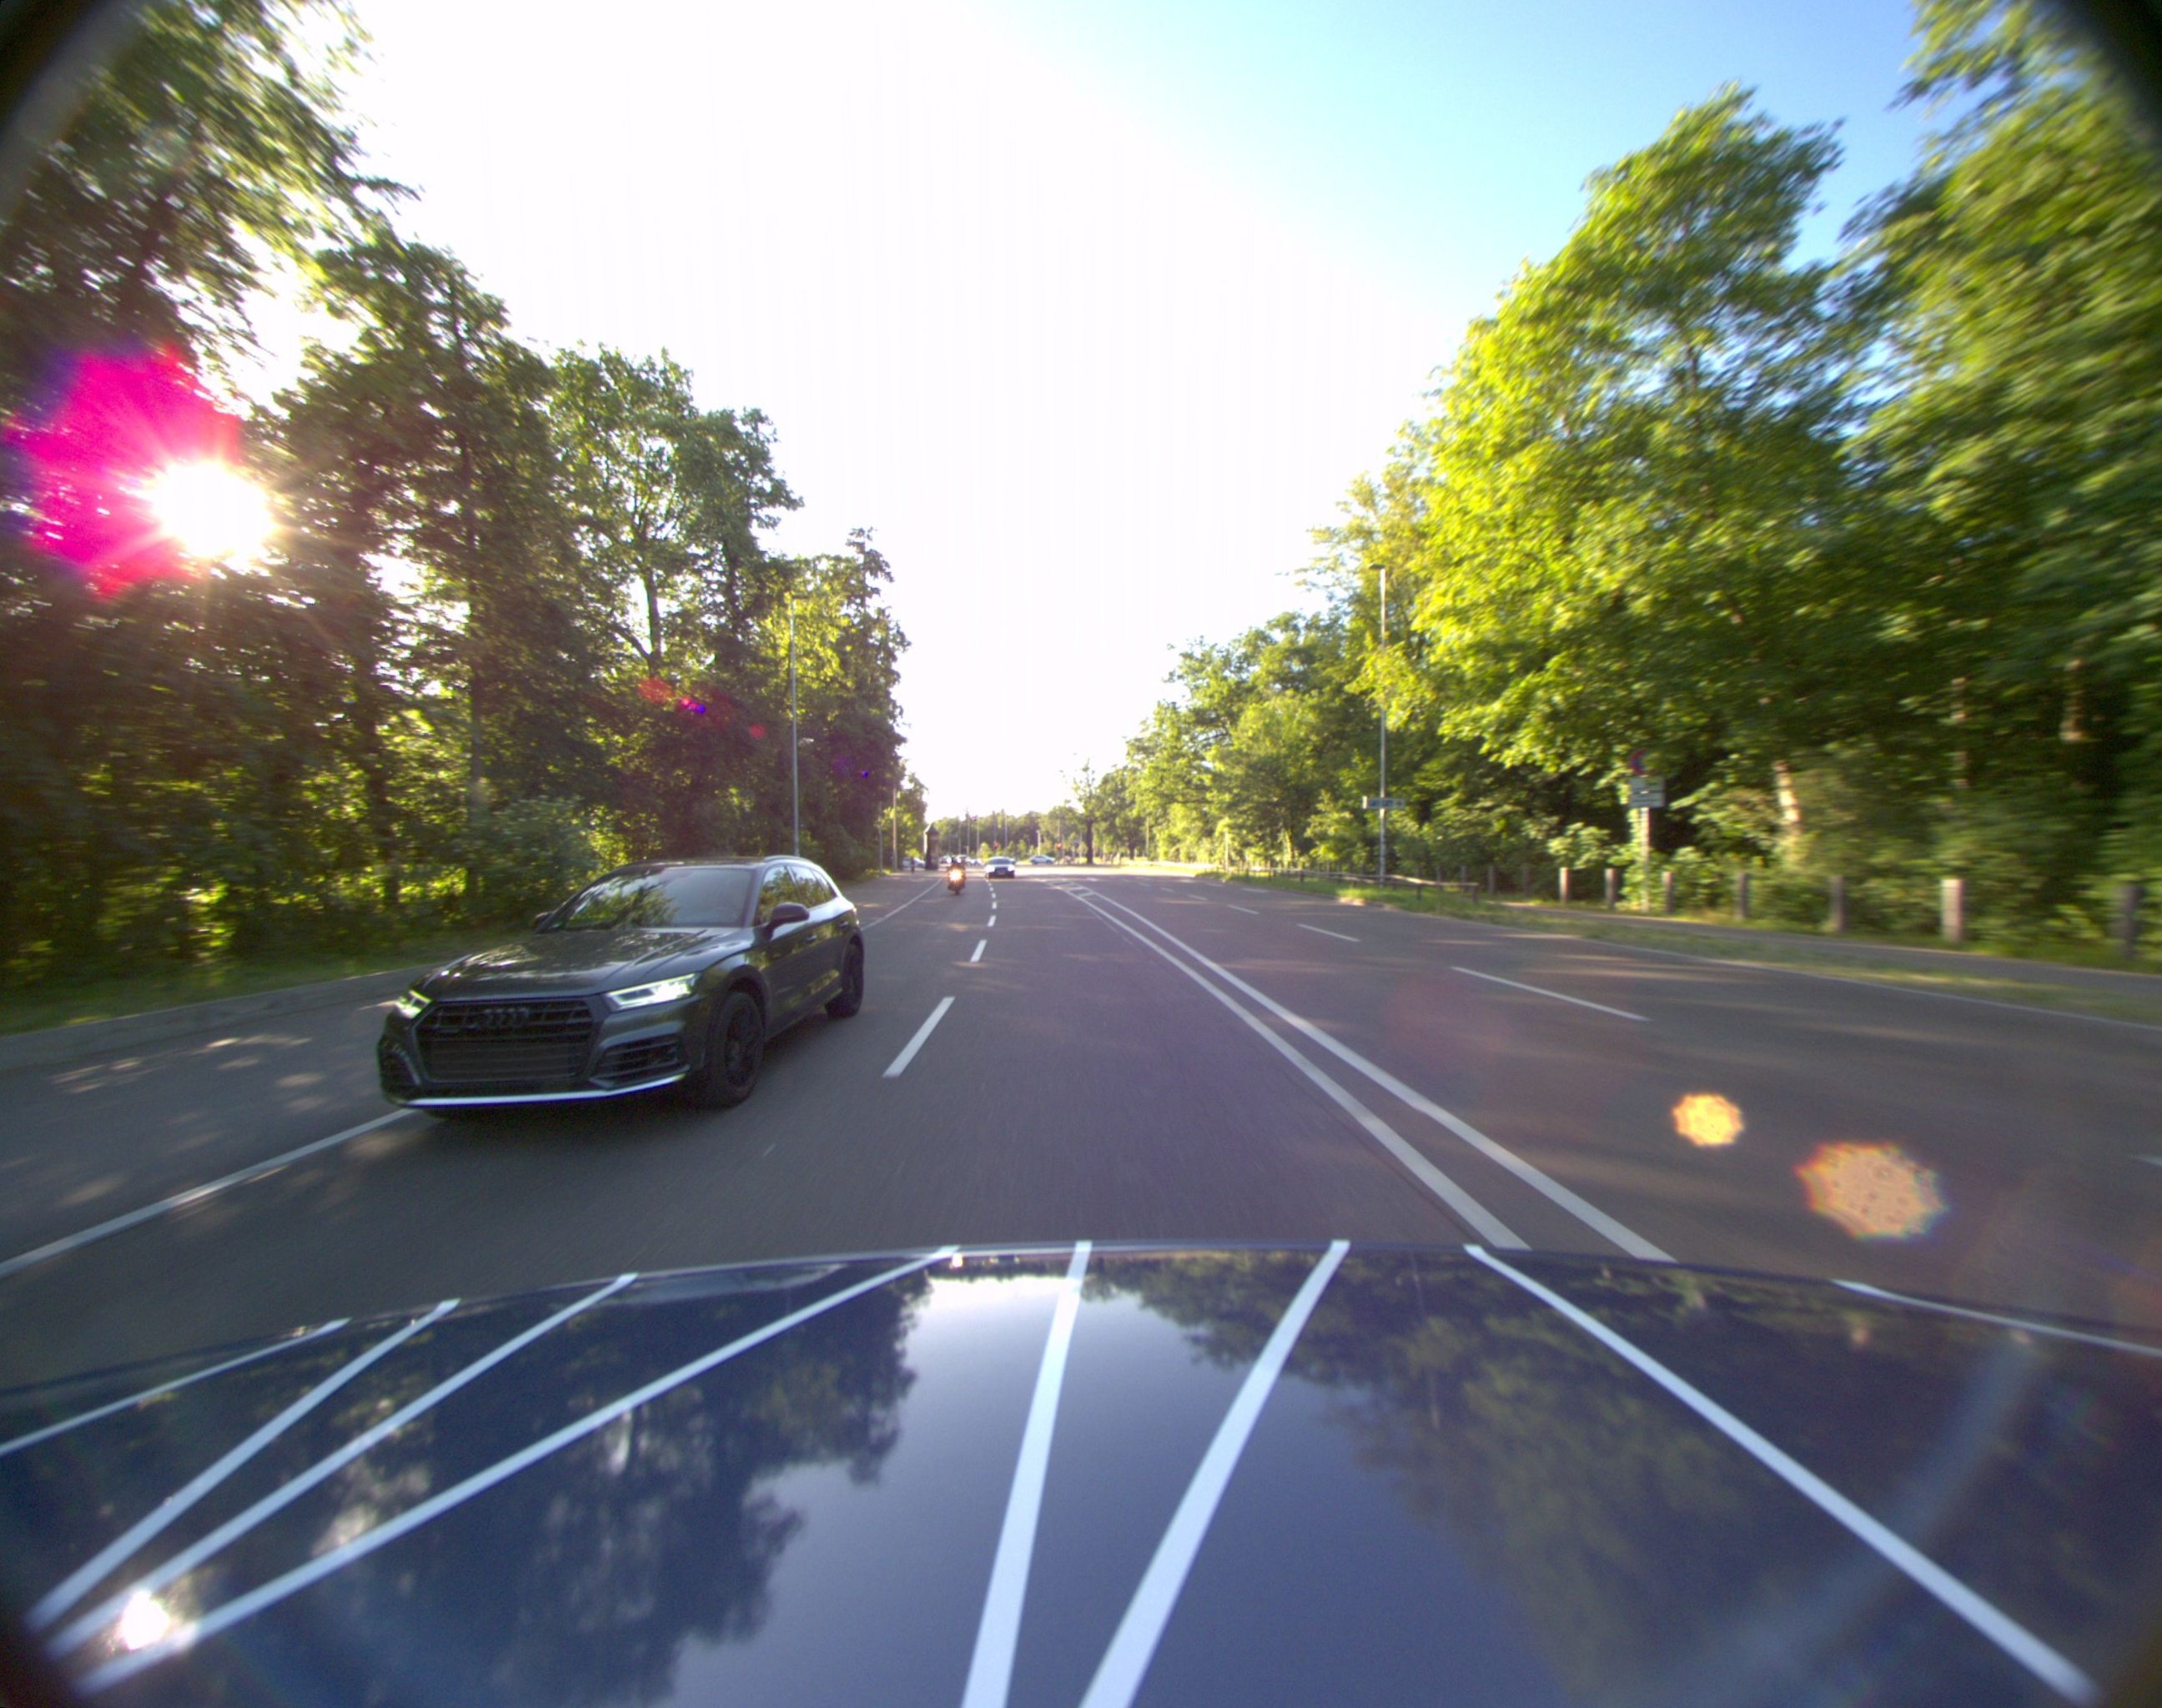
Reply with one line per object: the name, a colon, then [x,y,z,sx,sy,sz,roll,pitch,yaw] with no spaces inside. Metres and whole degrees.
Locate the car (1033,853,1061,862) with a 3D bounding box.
car: [-5.688,0.593,127.881,4.292,1.504,1.841,-1,1,13]

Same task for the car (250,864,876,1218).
car: [-3.189,0.965,6.075,1.898,1.596,4.543,-2,1,-1]

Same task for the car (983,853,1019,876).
car: [-5.686,0.694,53.408,1.869,1.538,4.790,-2,0,-13]

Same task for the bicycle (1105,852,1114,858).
bicycle: [4.480,0.193,121.119,1.355,0.971,0.522,-2,1,-7]

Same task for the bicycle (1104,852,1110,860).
bicycle: [4.117,0.291,121.357,0.681,1.147,1.986,-2,-1,7]

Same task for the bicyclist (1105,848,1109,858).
bicyclist: [4.095,-0.144,121.368,0.563,1.542,0.801,-2,-1,7]

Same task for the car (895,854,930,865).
car: [-22.943,0.763,103.435,4.384,1.370,1.819,1,1,-3]

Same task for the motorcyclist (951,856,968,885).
motorcyclist: [-5.439,0.750,34.051,0.672,1.257,0.825,-2,1,-12]

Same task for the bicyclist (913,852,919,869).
bicyclist: [-15.183,0.601,69.900,0.522,1.461,0.860,-3,1,-12]

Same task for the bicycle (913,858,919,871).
bicycle: [-15.168,0.949,69.876,0.556,1.131,1.862,-2,1,-12]

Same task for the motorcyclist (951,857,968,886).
motorcyclist: [-5.313,0.756,33.192,0.672,1.257,0.825,-2,1,-12]

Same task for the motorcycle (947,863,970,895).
motorcycle: [-5.356,1.061,33.337,0.916,1.243,2.959,-1,1,-9]
